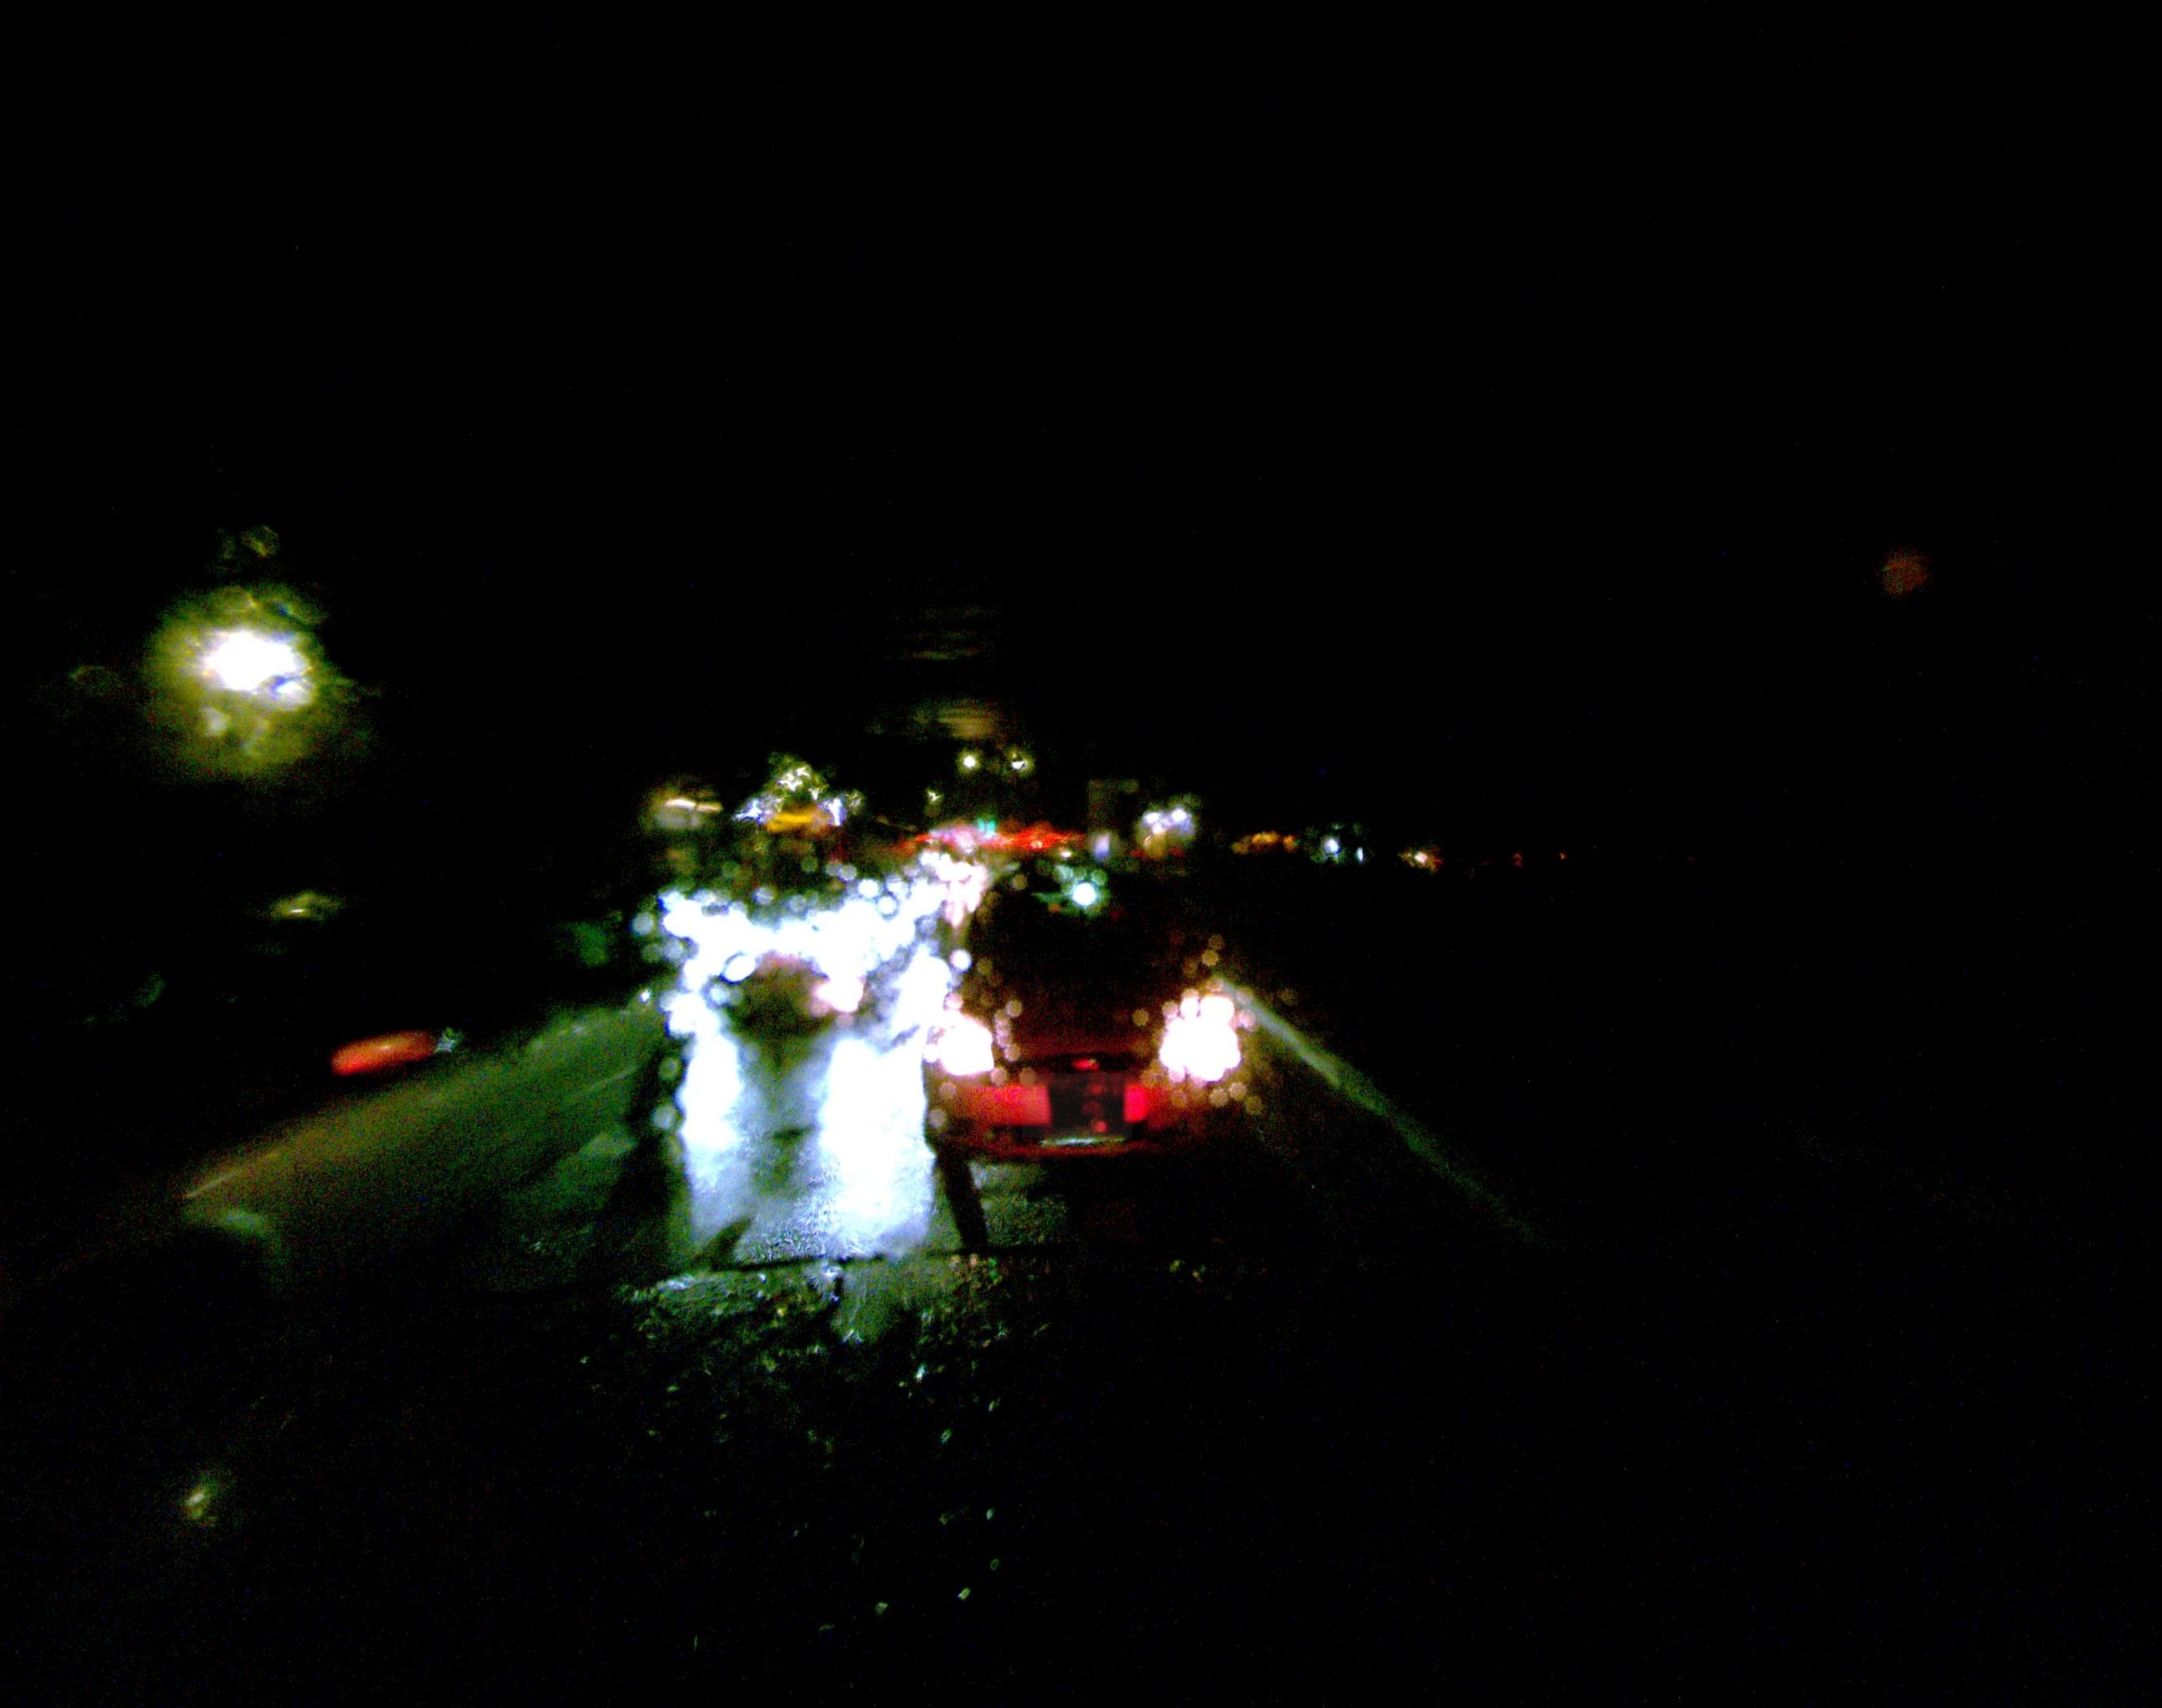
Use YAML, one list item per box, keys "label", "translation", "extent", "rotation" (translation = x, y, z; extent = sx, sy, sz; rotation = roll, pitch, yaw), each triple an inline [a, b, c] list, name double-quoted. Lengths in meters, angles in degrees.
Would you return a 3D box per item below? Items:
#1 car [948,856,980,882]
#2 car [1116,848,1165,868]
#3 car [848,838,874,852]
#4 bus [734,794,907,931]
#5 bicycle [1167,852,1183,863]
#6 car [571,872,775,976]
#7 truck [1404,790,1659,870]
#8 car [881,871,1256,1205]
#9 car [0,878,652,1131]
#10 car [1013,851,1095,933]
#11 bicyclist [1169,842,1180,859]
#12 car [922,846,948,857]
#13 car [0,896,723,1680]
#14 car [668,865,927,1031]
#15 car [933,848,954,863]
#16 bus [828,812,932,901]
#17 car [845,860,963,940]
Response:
- label: "car"
  translation: [-7.375, 0.879, 47.518]
  extent: [1.726, 1.478, 4.157]
  rotation: [0, 1, -12]
- label: "car"
  translation: [4.689, 0.285, 60.733]
  extent: [2.044, 1.478, 4.489]
  rotation: [0, 1, -24]
- label: "car"
  translation: [-23.749, -0.945, 81.966]
  extent: [1.712, 1.382, 3.990]
  rotation: [-2, 1, -32]
- label: "bus"
  translation: [-7.440, 0.148, 23.340]
  extent: [2.742, 3.258, 9.693]
  rotation: [-2, 1, -5]
- label: "bicycle"
  translation: [8.081, 0.297, 65.449]
  extent: [0.629, 0.899, 2.210]
  rotation: [-1, 1, -13]
- label: "car"
  translation: [-7.149, 1.132, 13.863]
  extent: [1.725, 1.478, 4.160]
  rotation: [0, 1, -4]
- label: "truck"
  translation: [27.624, -1.414, 47.205]
  extent: [13.671, 4.416, 2.743]
  rotation: [-1, 1, 7]
- label: "car"
  translation: [-0.074, 0.911, 5.556]
  extent: [1.755, 1.438, 3.973]
  rotation: [0, 1, 0]
- label: "car"
  translation: [-6.446, 1.087, 7.499]
  extent: [1.724, 1.478, 4.786]
  rotation: [-1, 1, 0]
- label: "car"
  translation: [-0.642, 0.785, 17.945]
  extent: [1.724, 1.695, 3.972]
  rotation: [0, 1, -2]
- label: "bicyclist"
  translation: [8.054, -0.280, 65.514]
  extent: [0.630, 1.427, 1.187]
  rotation: [-1, 1, -13]
- label: "car"
  translation: [-20.359, -0.278, 105.709]
  extent: [1.833, 1.456, 4.413]
  rotation: [-2, 1, -36]
- label: "car"
  translation: [-3.165, 1.027, 2.784]
  extent: [1.724, 1.438, 4.161]
  rotation: [-1, 1, 0]
- label: "car"
  translation: [-3.327, 0.994, 9.892]
  extent: [1.724, 1.478, 4.161]
  rotation: [-4, 1, 0]
- label: "car"
  translation: [-13.882, 0.168, 76.857]
  extent: [1.725, 1.478, 4.159]
  rotation: [0, 1, -6]
- label: "bus"
  translation: [-8.378, 0.029, 32.984]
  extent: [2.742, 3.219, 9.693]
  rotation: [-2, 1, -6]
- label: "car"
  translation: [-3.713, 0.907, 16.613]
  extent: [1.698, 1.455, 3.973]
  rotation: [0, 1, 0]
